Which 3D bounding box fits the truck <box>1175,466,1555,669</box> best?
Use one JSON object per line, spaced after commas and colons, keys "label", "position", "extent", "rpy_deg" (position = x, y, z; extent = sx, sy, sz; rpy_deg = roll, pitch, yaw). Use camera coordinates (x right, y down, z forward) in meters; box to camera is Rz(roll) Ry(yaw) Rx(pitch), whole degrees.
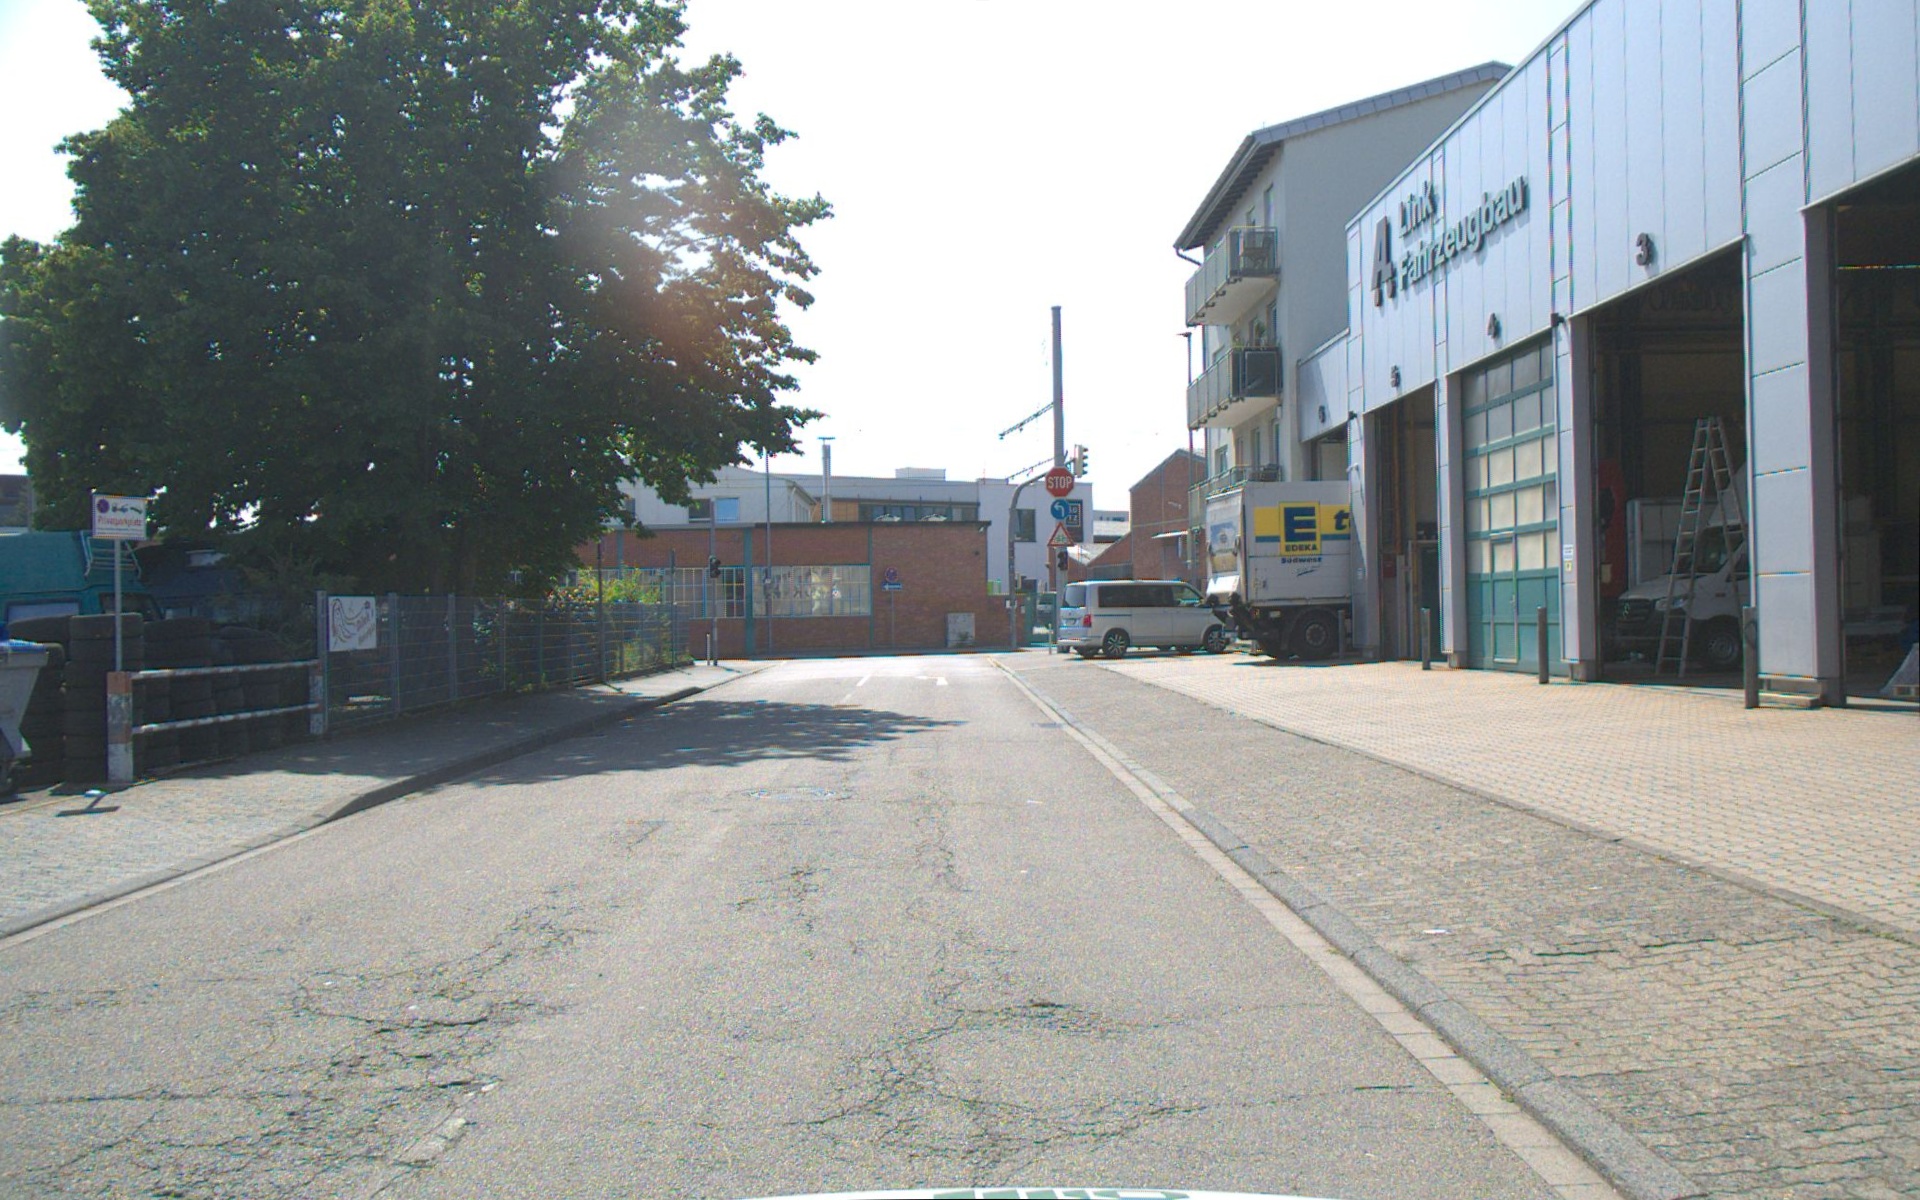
{"label": "truck", "position": [8.564, -0.688, 35.416], "extent": [7.221, 3.708, 2.763], "rpy_deg": [-4, 0, -7]}

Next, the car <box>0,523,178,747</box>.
{"label": "car", "position": [-11.854, 0.436, 19.887], "extent": [4.004, 2.557, 1.776], "rpy_deg": [-1, -1, -3]}

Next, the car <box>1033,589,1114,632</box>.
{"label": "car", "position": [6.087, 0.555, 88.808], "extent": [3.951, 2.228, 1.977], "rpy_deg": [-1, -1, -33]}

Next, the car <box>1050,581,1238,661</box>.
{"label": "car", "position": [4.858, 0.543, 43.708], "extent": [4.586, 1.992, 1.905], "rpy_deg": [-1, -1, -20]}

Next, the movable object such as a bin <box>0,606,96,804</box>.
{"label": "movable object such as a bin", "position": [-8.759, 0.852, 12.807], "extent": [2.571, 1.536, 2.730], "rpy_deg": [-2, -1, 4]}

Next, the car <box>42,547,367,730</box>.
{"label": "car", "position": [-11.196, 0.556, 24.730], "extent": [4.004, 2.557, 1.776], "rpy_deg": [-1, -1, -3]}

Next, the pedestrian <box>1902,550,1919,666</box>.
{"label": "pedestrian", "position": [14.016, 0.110, 23.425], "extent": [0.795, 1.649, 0.864], "rpy_deg": [-1, -1, -3]}

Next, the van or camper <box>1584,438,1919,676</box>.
{"label": "van or camper", "position": [12.051, -0.620, 24.708], "extent": [4.662, 3.346, 1.998], "rpy_deg": [-1, -1, -5]}
